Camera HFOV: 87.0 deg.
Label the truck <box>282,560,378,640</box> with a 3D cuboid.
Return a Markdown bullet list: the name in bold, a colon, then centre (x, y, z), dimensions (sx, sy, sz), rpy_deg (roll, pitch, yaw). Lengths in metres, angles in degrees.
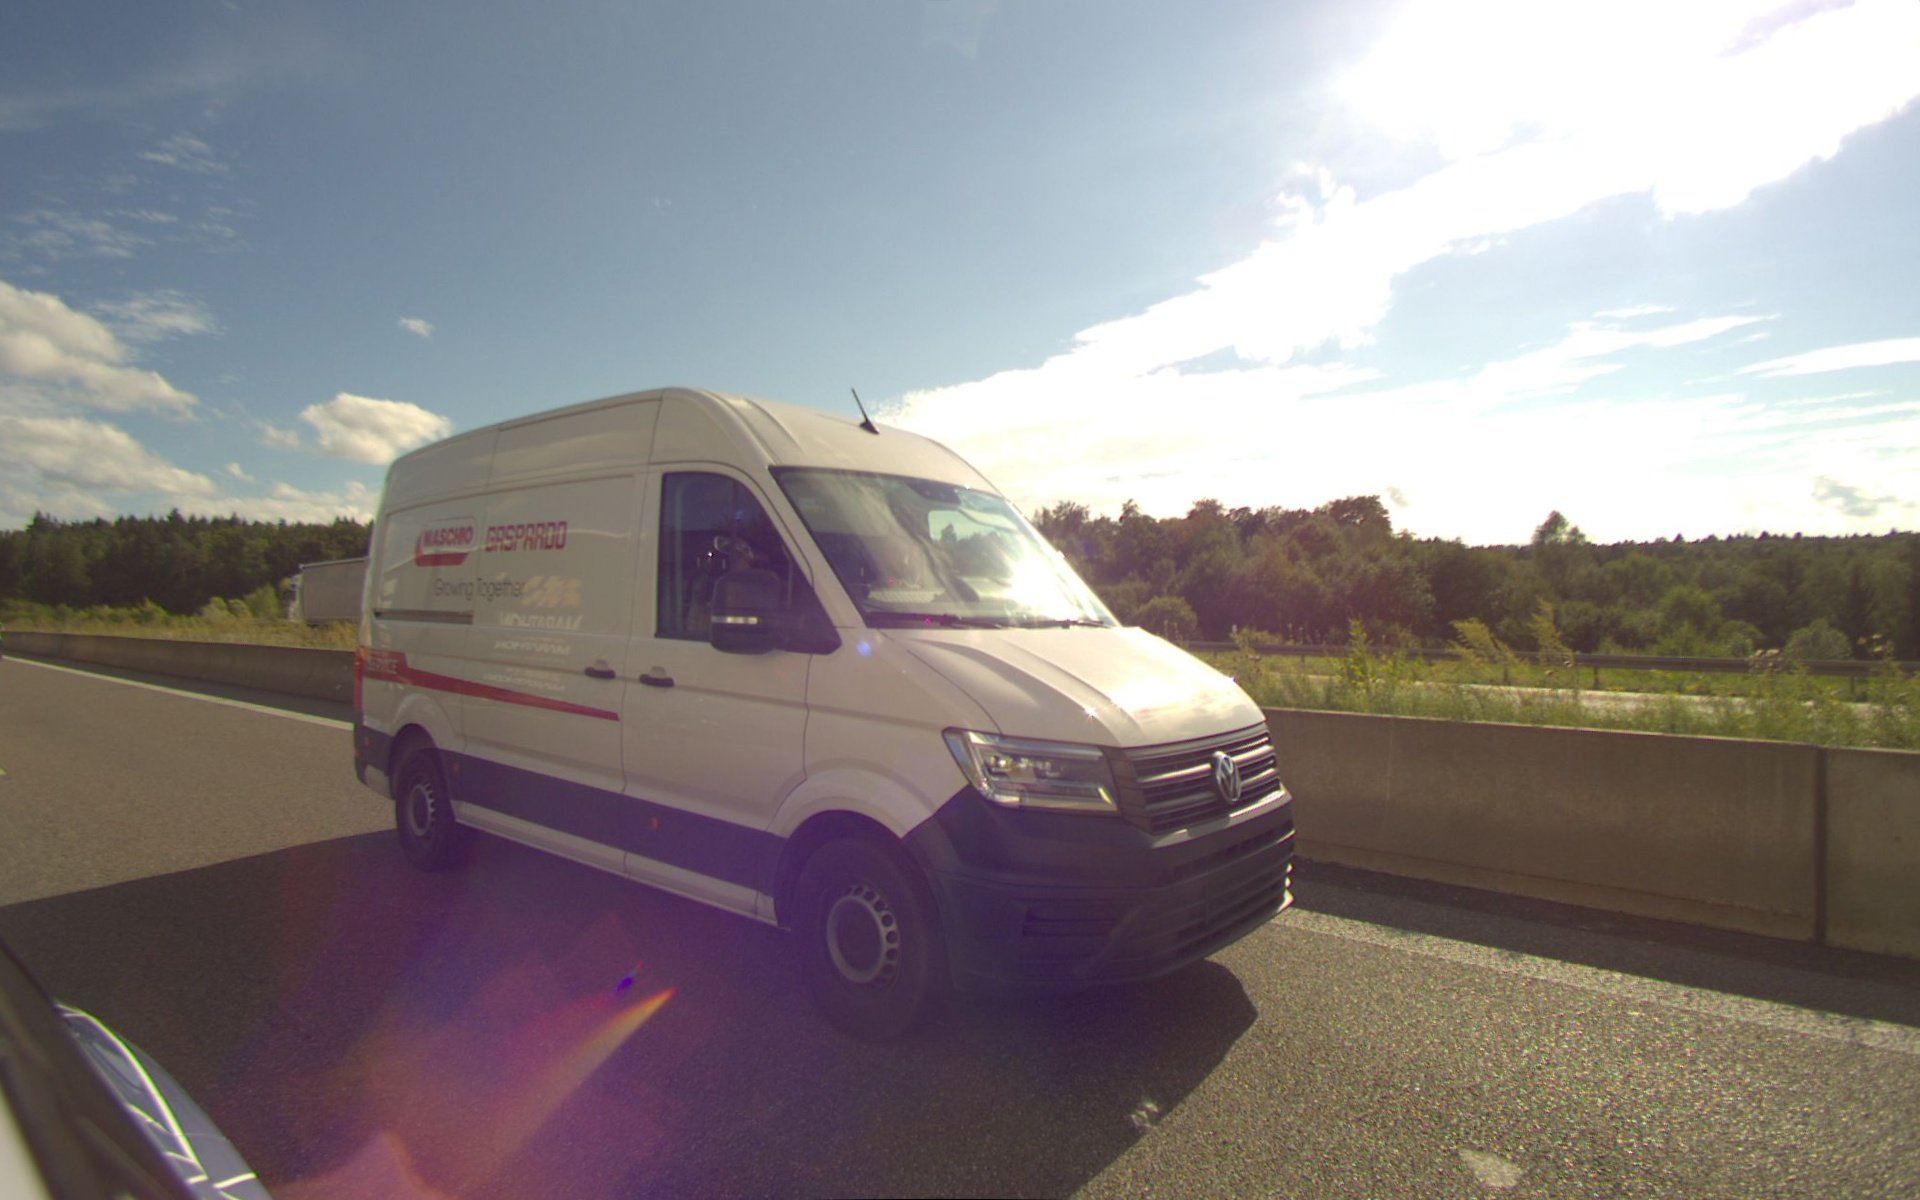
- **truck**: centre (-33.459, 0.056, 53.674), dimensions (5.830, 4.006, 2.790), rpy_deg (-1, -1, 41)

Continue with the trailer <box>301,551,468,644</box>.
- **trailer**: centre (-28.193, -0.026, 49.067), dimensions (13.543, 4.022, 2.803), rpy_deg (-1, -1, 41)

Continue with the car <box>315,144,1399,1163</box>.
- **car**: centre (-1.218, 0.217, 5.380), dimensions (6.177, 2.619, 1.994), rpy_deg (-2, -2, 40)
